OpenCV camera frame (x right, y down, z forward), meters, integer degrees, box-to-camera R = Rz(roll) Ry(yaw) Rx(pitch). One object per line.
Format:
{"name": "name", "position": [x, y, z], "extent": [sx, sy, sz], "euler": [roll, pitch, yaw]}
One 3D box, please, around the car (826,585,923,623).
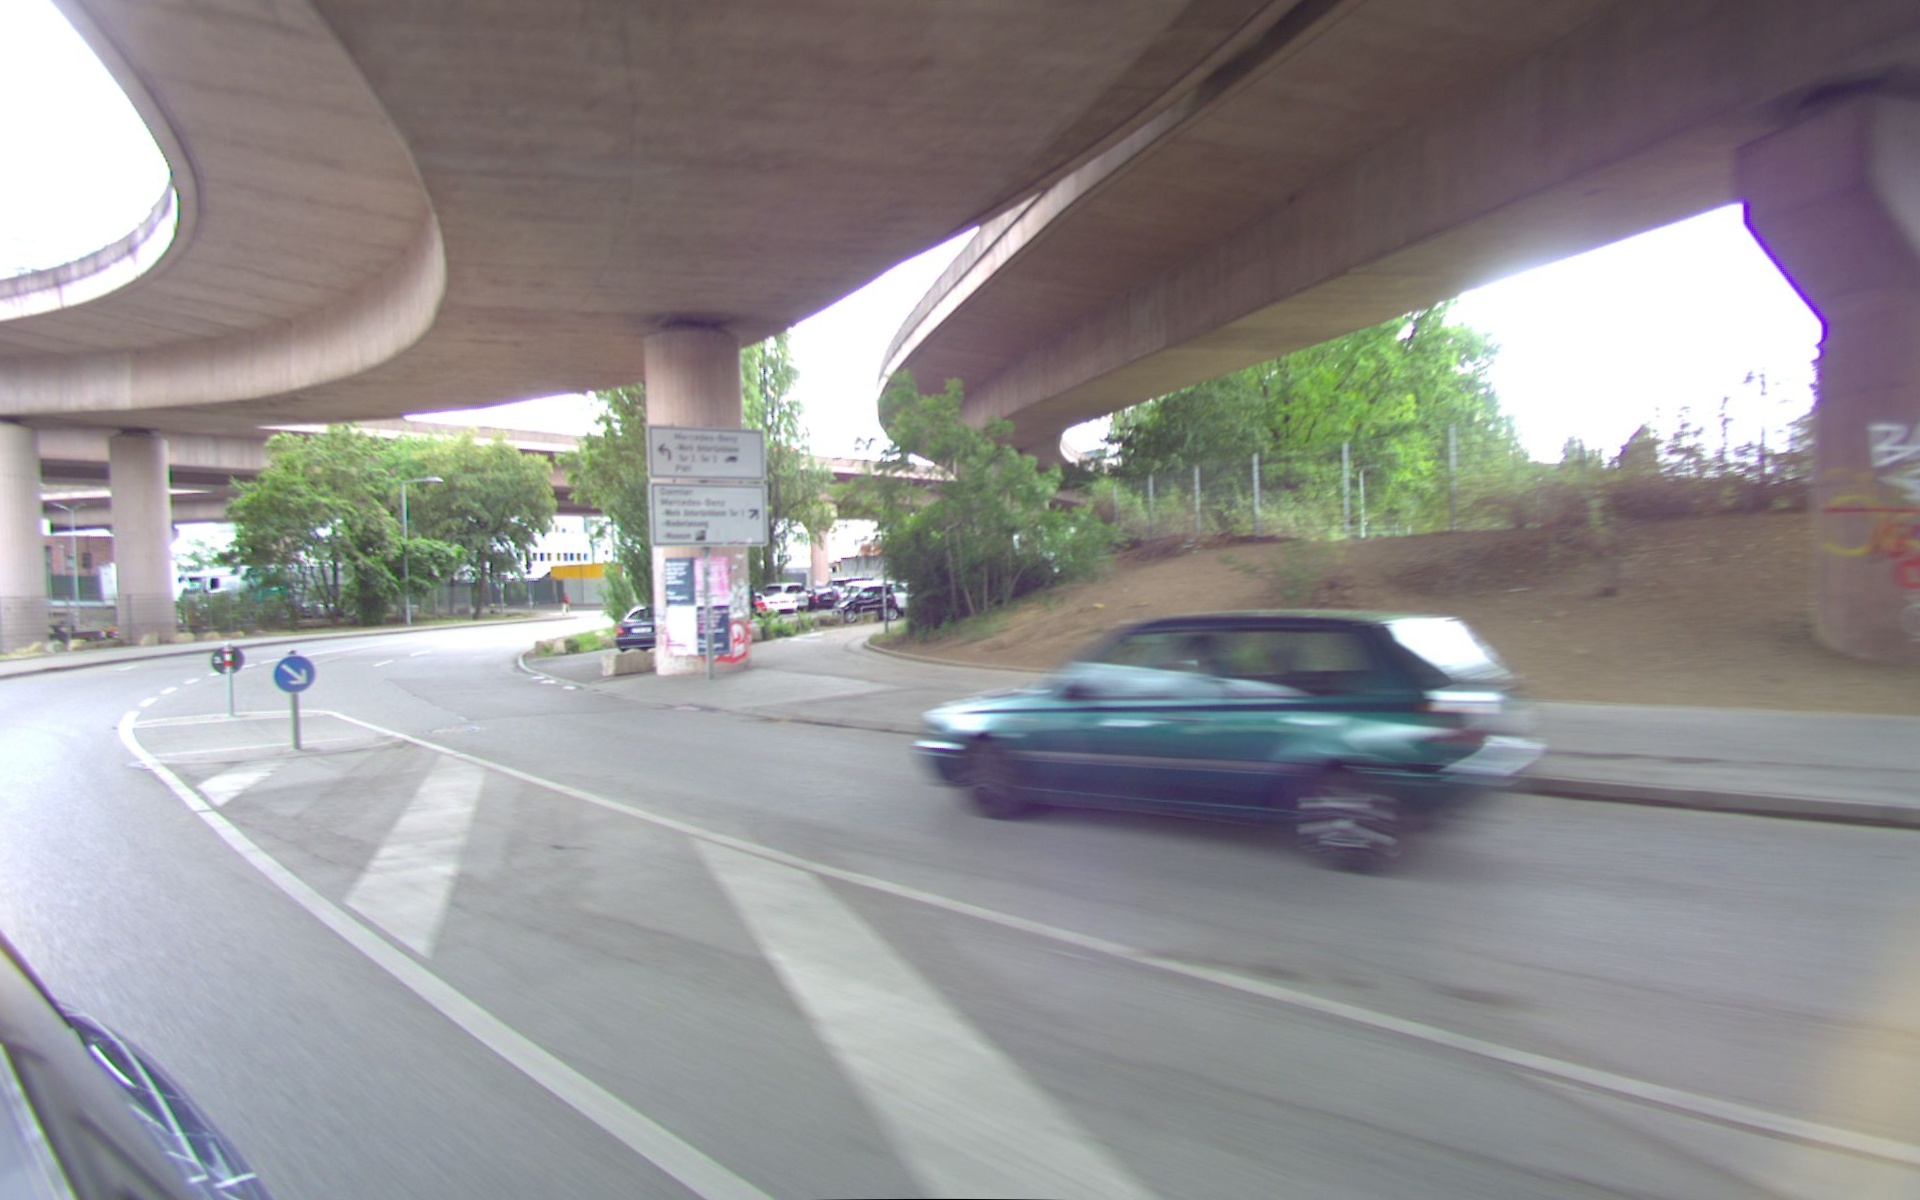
{"name": "car", "position": [-3.659, 0.154, 43.464], "extent": [3.802, 1.475, 1.543], "euler": [-2, 1, -28]}

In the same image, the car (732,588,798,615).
{"name": "car", "position": [-10.596, 0.073, 54.808], "extent": [1.668, 1.374, 4.527], "euler": [-2, 2, -36]}

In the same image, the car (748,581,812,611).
{"name": "car", "position": [-10.572, -0.268, 59.264], "extent": [1.669, 1.686, 4.687], "euler": [-2, 2, -38]}

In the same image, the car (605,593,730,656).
{"name": "car", "position": [-7.968, 0.601, 28.080], "extent": [1.804, 1.441, 4.770], "euler": [-4, 1, 3]}

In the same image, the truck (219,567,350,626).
{"name": "truck", "position": [-41.481, -0.276, 62.386], "extent": [2.263, 3.434, 6.344], "euler": [0, 1, 32]}

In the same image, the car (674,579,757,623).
{"name": "car", "position": [-11.531, 0.012, 47.487], "extent": [1.827, 1.931, 4.984], "euler": [-2, 2, -38]}

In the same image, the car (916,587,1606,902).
{"name": "car", "position": [1.772, 0.695, 6.627], "extent": [3.995, 1.441, 1.660], "euler": [-1, 1, 38]}

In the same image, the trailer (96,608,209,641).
{"name": "trailer", "position": [-37.082, 1.095, 46.601], "extent": [1.584, 1.341, 4.379], "euler": [-1, 1, 2]}

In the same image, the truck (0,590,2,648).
{"name": "truck", "position": [-38.957, 0.623, 37.315], "extent": [2.383, 2.764, 7.259], "euler": [-2, 1, -19]}

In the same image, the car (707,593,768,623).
{"name": "car", "position": [-11.310, 0.375, 51.383], "extent": [1.540, 1.390, 3.712], "euler": [-2, 2, -38]}

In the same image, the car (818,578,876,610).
{"name": "car", "position": [-7.657, -0.436, 68.137], "extent": [1.825, 2.028, 4.735], "euler": [0, 2, -35]}

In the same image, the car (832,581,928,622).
{"name": "car", "position": [-3.604, 0.032, 45.847], "extent": [3.996, 1.720, 1.740], "euler": [-2, 2, -35]}

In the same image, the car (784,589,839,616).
{"name": "car", "position": [-8.985, 0.114, 61.047], "extent": [1.669, 1.547, 3.636], "euler": [-2, 2, -38]}

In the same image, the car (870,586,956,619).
{"name": "car", "position": [-2.297, 0.085, 49.688], "extent": [3.804, 1.475, 1.748], "euler": [-2, 2, -32]}

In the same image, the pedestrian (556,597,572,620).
{"name": "pedestrian", "position": [-29.971, 0.620, 76.595], "extent": [0.745, 1.693, 0.853], "euler": [-1, 1, 6]}

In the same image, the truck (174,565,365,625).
{"name": "truck", "position": [-43.679, -0.429, 64.572], "extent": [2.261, 3.524, 10.115], "euler": [0, 1, 29]}
